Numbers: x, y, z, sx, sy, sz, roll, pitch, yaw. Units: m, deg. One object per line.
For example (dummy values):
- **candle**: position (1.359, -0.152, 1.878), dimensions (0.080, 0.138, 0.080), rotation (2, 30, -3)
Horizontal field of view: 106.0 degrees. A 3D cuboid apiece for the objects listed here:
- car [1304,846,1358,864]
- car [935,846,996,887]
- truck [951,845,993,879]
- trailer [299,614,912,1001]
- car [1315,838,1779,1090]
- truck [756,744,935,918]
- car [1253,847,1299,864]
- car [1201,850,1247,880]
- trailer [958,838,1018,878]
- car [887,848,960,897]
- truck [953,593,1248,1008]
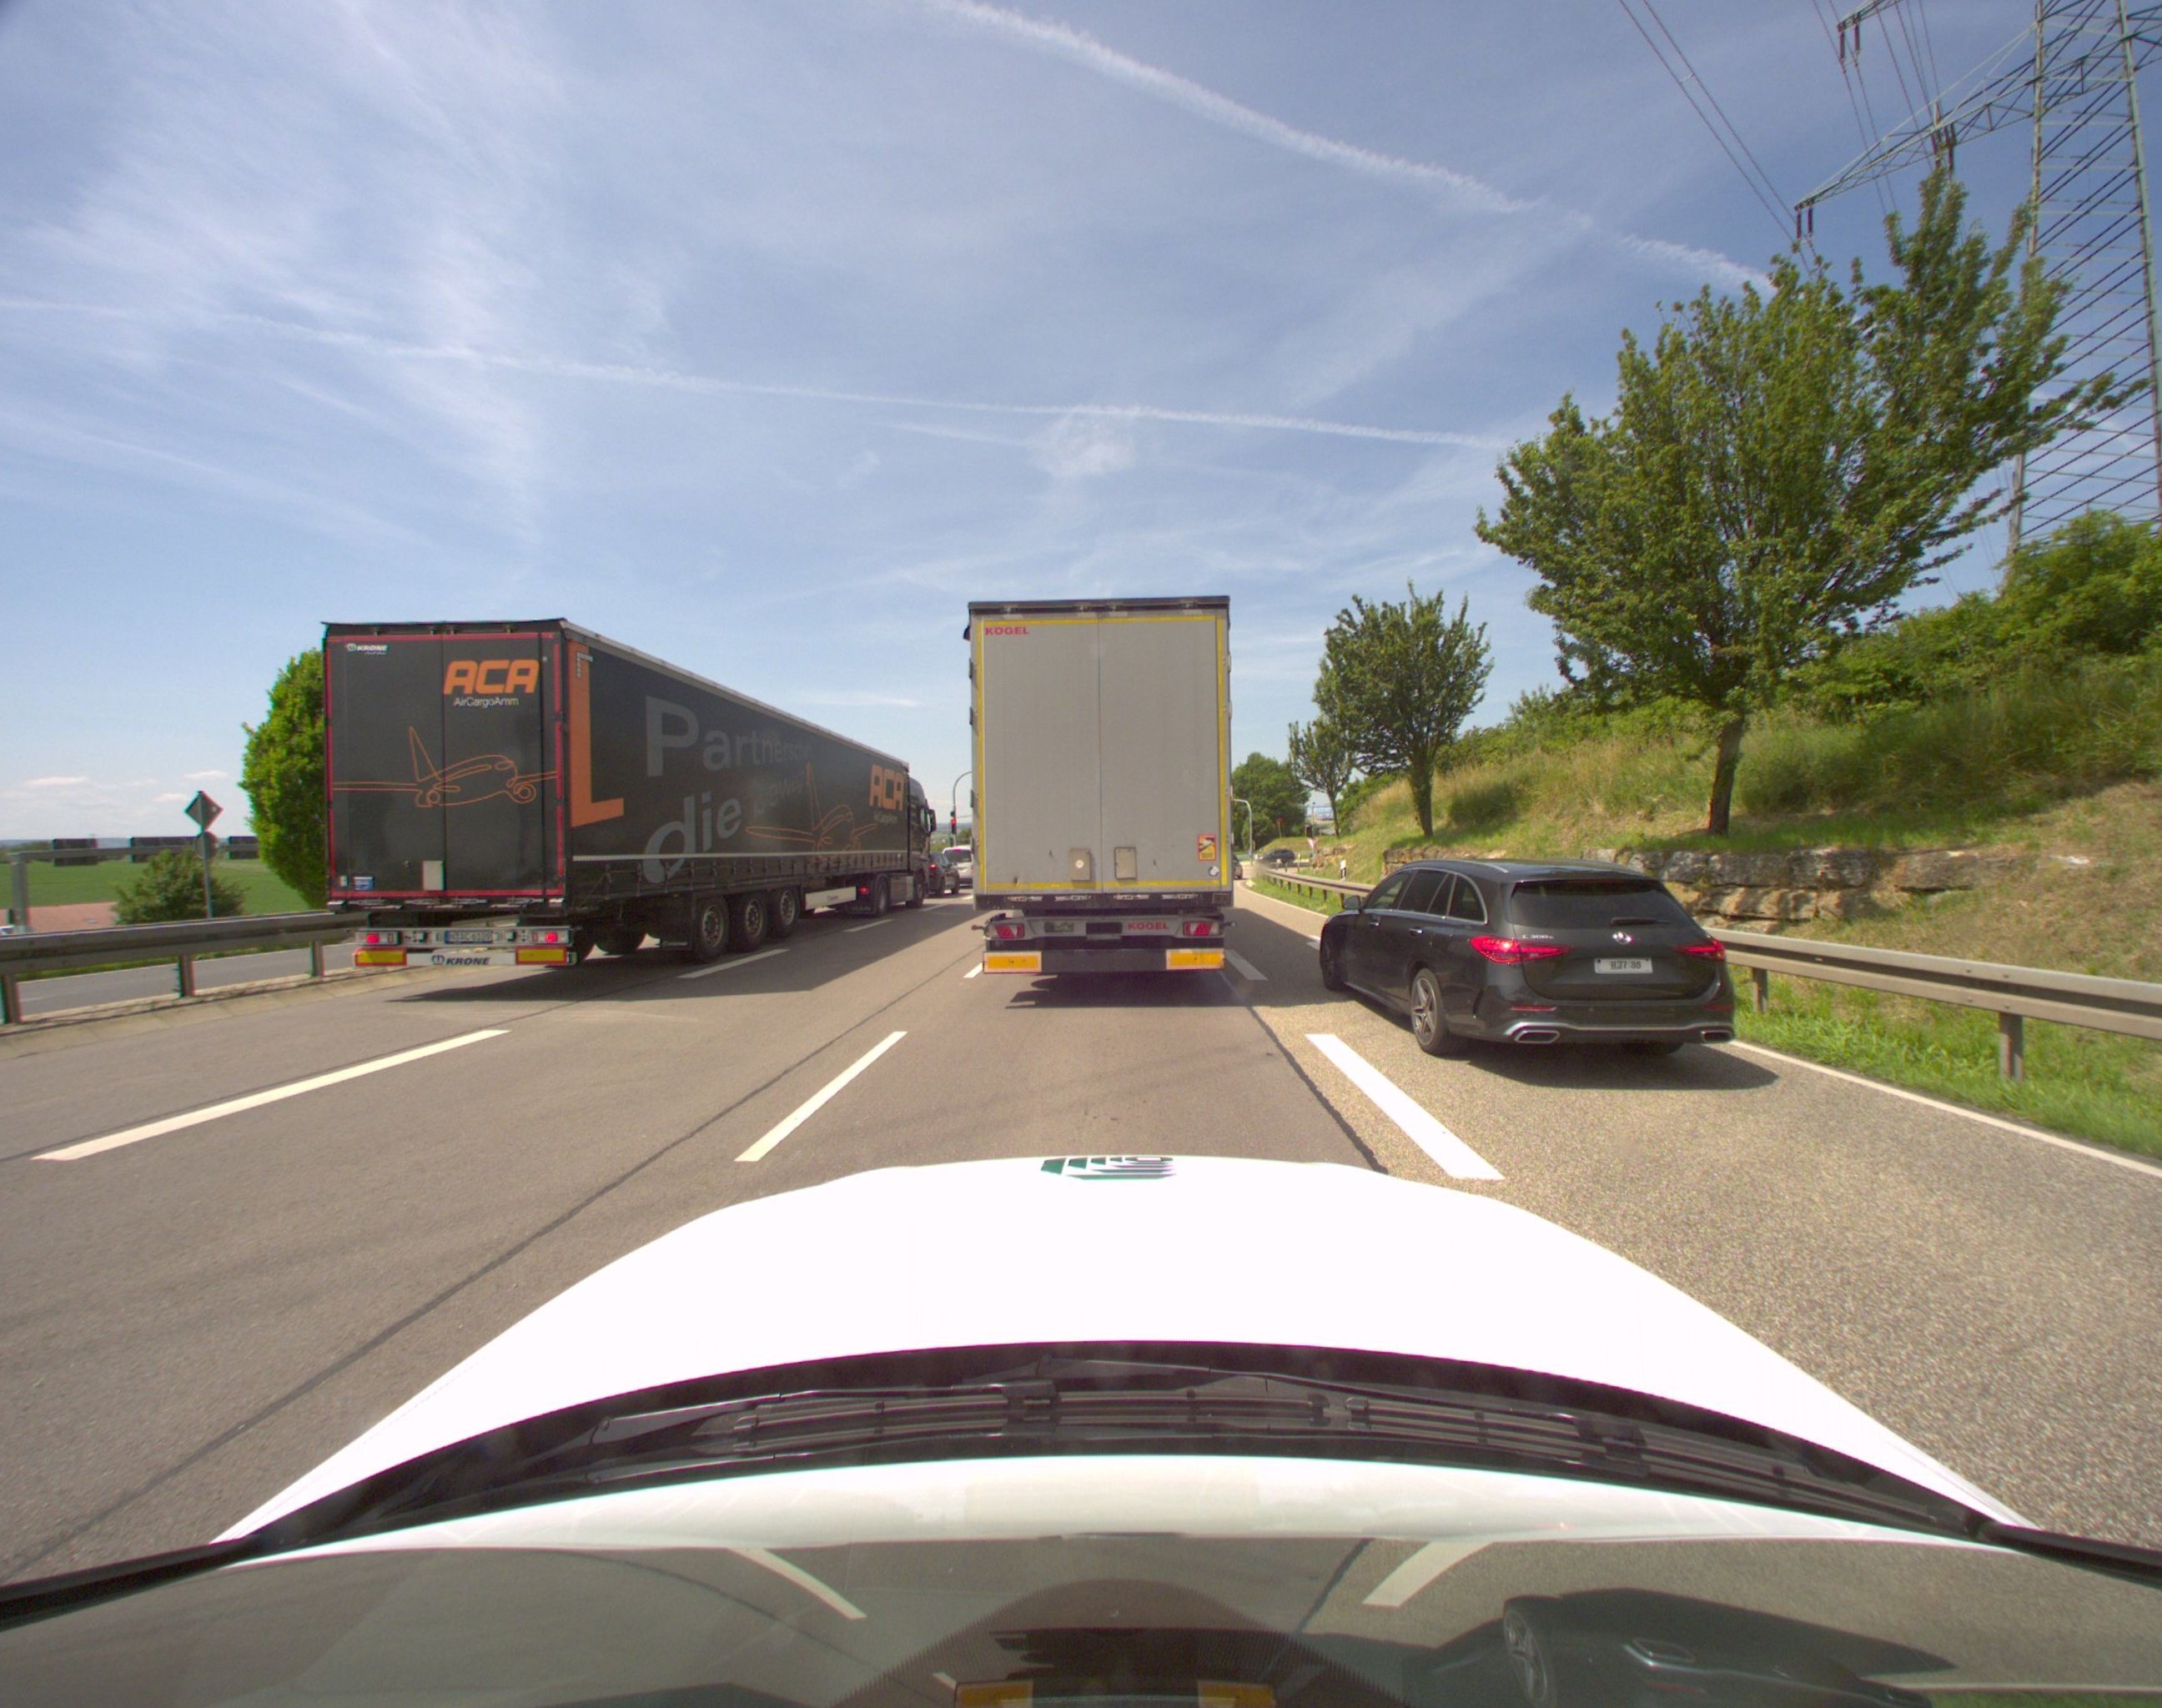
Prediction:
- **car**: position (22.642, 0.082, 73.916), dimensions (4.355, 1.510, 1.712), rotation (-1, -1, -8)
- **car**: position (-5.308, 0.552, 37.950), dimensions (1.759, 1.798, 4.758), rotation (0, 0, 5)
- **truck**: position (-10.477, 0.762, 78.817), dimensions (2.787, 3.013, 5.996), rotation (-2, -1, 4)
- **trailer**: position (-6.275, -0.458, 15.165), dimensions (2.772, 3.913, 13.796), rotation (0, 0, 3)
- **car**: position (3.464, 0.692, 7.144), dimensions (1.739, 1.532, 4.300), rotation (0, -1, 2)
- **truck**: position (-5.983, -0.523, 21.801), dimensions (2.772, 4.013, 5.975), rotation (0, 0, 2)
- **car**: position (19.172, 0.169, 80.173), dimensions (3.981, 1.510, 1.713), rotation (-1, -1, -6)
- **car**: position (8.298, 0.644, 46.999), dimensions (1.780, 1.640, 4.021), rotation (-1, -1, 22)
- **trailer**: position (-9.727, 0.483, 88.244), dimensions (2.627, 3.763, 19.820), rotation (-2, -1, 4)
- **car**: position (-5.723, 0.620, 30.083), dimensions (1.850, 1.657, 4.347), rotation (0, 0, 0)
- **truck**: position (0.375, -0.474, 13.410), dimensions (2.788, 3.929, 11.346), rotation (0, 0, 2)
